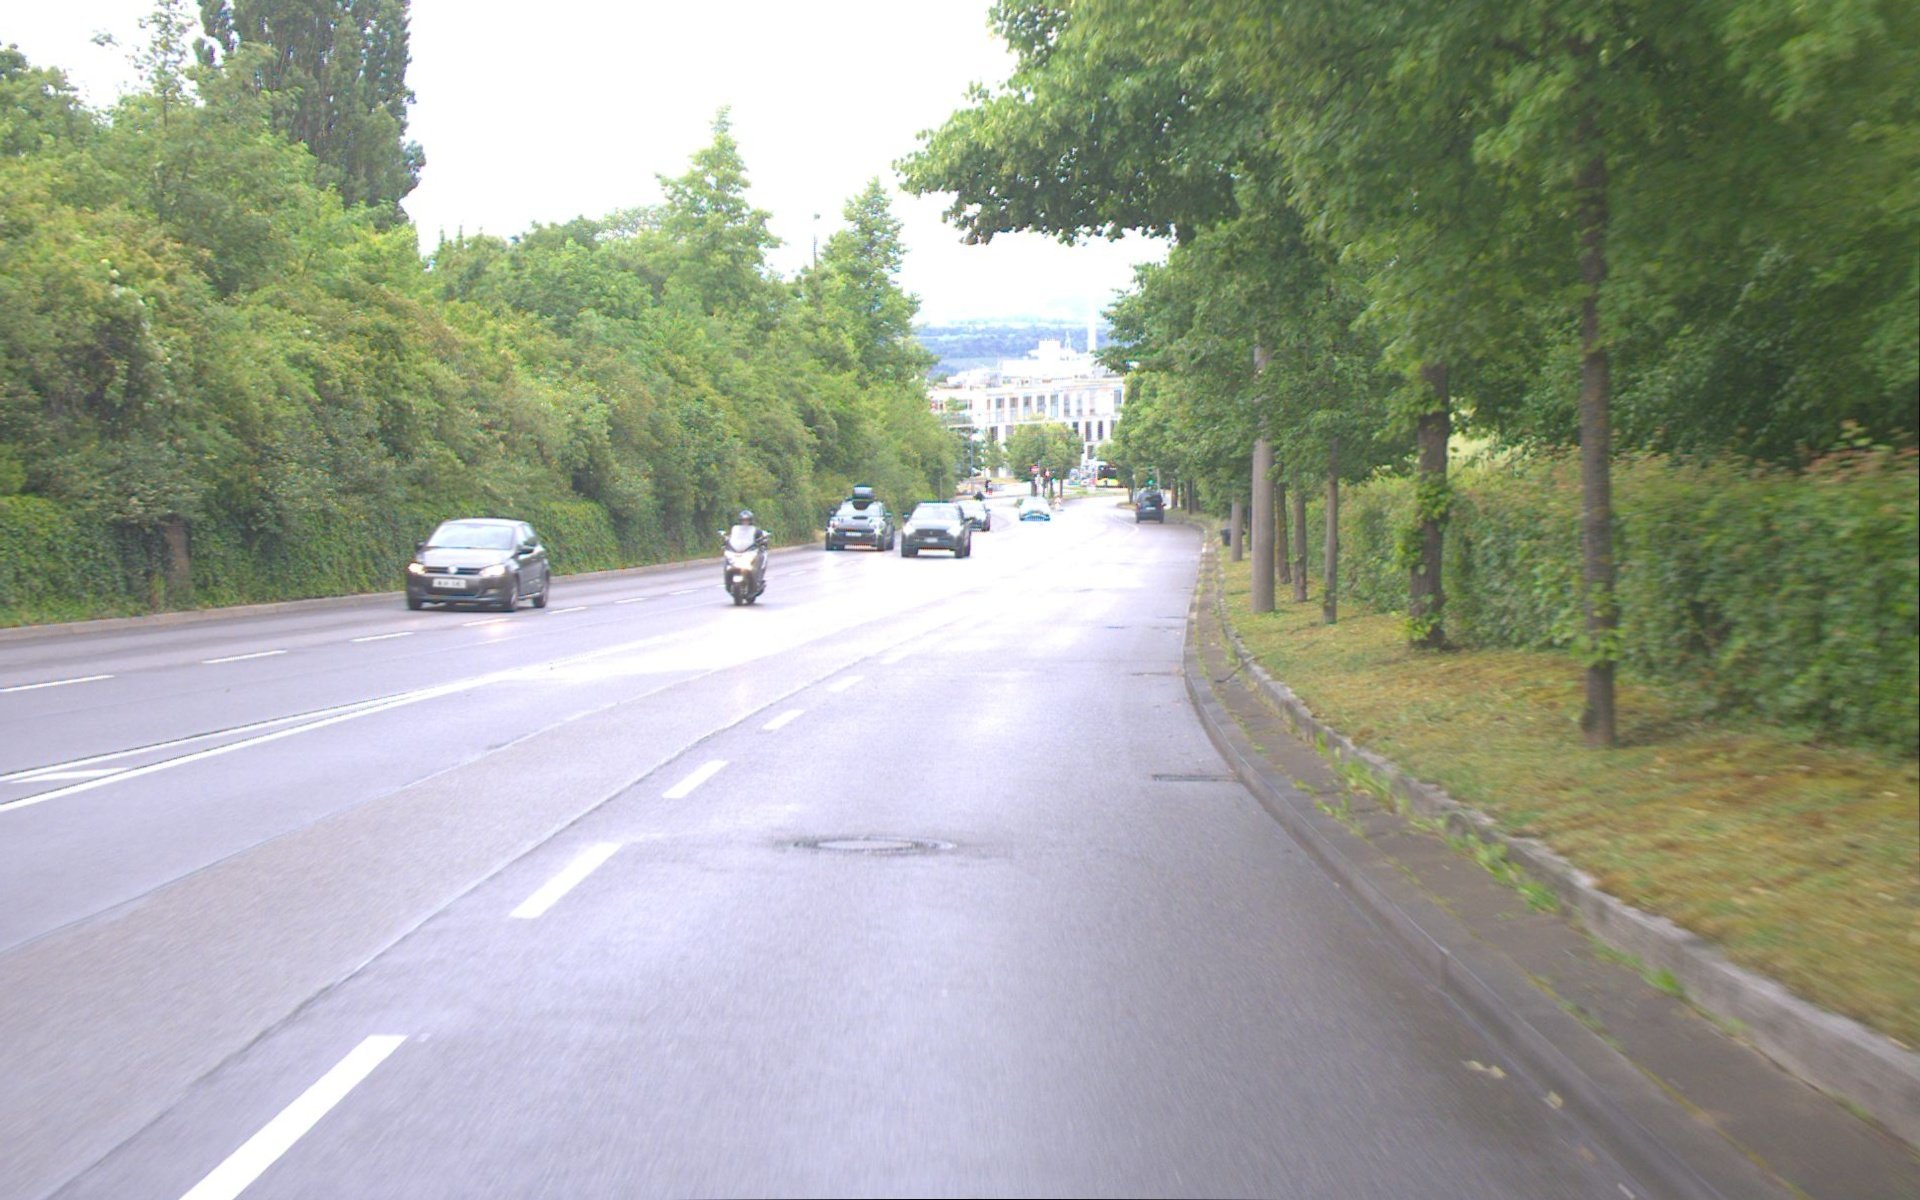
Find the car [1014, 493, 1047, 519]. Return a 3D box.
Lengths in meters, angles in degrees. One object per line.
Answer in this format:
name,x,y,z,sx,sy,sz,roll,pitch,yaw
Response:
car,4.410,-5.865,214.413,1.715,1.499,4.516,2,2,4

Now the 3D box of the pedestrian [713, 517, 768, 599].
pedestrian,-3.792,-0.732,59.422,0.791,1.379,0.974,2,1,3

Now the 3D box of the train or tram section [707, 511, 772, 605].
train or tram section,-3.793,-0.732,59.393,0.791,1.564,2.384,2,1,3

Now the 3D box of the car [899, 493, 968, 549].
car,-0.801,-2.459,106.645,1.812,1.652,4.595,1,2,4

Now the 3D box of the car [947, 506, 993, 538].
car,0.494,-3.664,160.719,1.760,1.376,4.838,2,2,4

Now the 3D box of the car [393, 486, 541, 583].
car,-7.610,-1.010,53.311,1.549,1.432,3.696,1,1,3

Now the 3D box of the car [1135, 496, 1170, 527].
car,11.400,-5.216,203.197,1.849,1.696,3.792,2,1,5

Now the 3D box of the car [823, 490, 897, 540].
car,-3.293,-2.806,113.900,1.899,1.547,4.630,2,2,4
